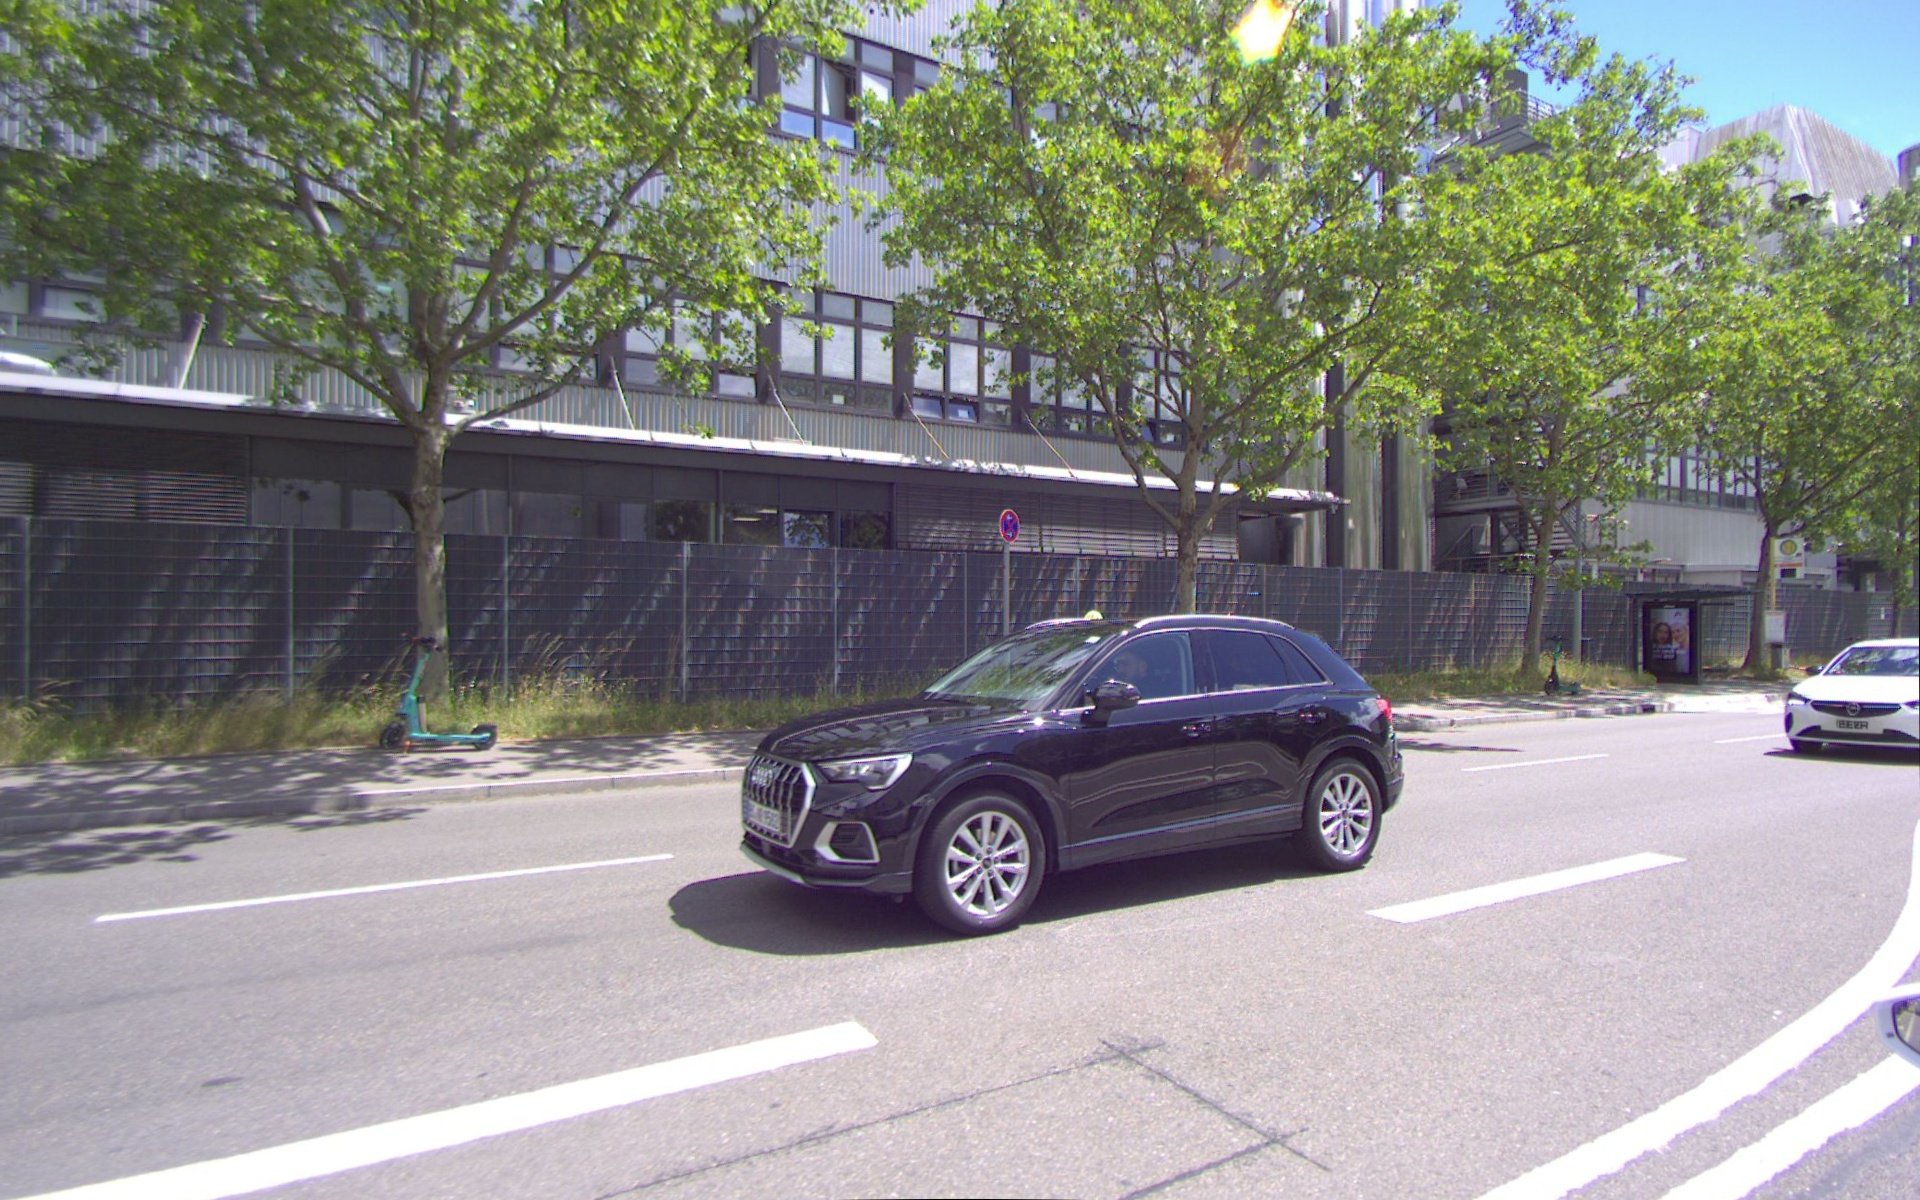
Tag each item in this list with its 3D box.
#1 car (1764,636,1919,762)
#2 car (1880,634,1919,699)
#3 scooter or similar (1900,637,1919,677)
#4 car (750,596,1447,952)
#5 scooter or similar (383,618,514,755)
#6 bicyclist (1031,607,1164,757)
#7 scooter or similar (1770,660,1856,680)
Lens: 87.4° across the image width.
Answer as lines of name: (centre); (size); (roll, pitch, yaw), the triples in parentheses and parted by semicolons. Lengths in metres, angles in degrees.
car: (12.386, 1.192, 13.040); (4.097, 1.433, 1.684); (1, -3, -30)
car: (24.215, 1.559, 24.147); (4.140, 1.525, 1.870); (1, -3, -29)
scooter or similar: (31.897, 1.882, 33.315); (1.299, 1.251, 0.521); (1, 3, -24)
car: (0.977, 0.873, 6.366); (4.216, 1.601, 1.732); (2, -3, -30)
scooter or similar: (-5.529, 0.920, 10.880); (1.221, 1.422, 0.302); (2, 0, -31)
bicyclist: (1.586, 0.924, 11.636); (1.210, 1.618, 0.950); (2, -3, -33)
scooter or similar: (25.945, 2.124, 30.587); (1.460, 0.385, 1.364); (2, 2, 6)
